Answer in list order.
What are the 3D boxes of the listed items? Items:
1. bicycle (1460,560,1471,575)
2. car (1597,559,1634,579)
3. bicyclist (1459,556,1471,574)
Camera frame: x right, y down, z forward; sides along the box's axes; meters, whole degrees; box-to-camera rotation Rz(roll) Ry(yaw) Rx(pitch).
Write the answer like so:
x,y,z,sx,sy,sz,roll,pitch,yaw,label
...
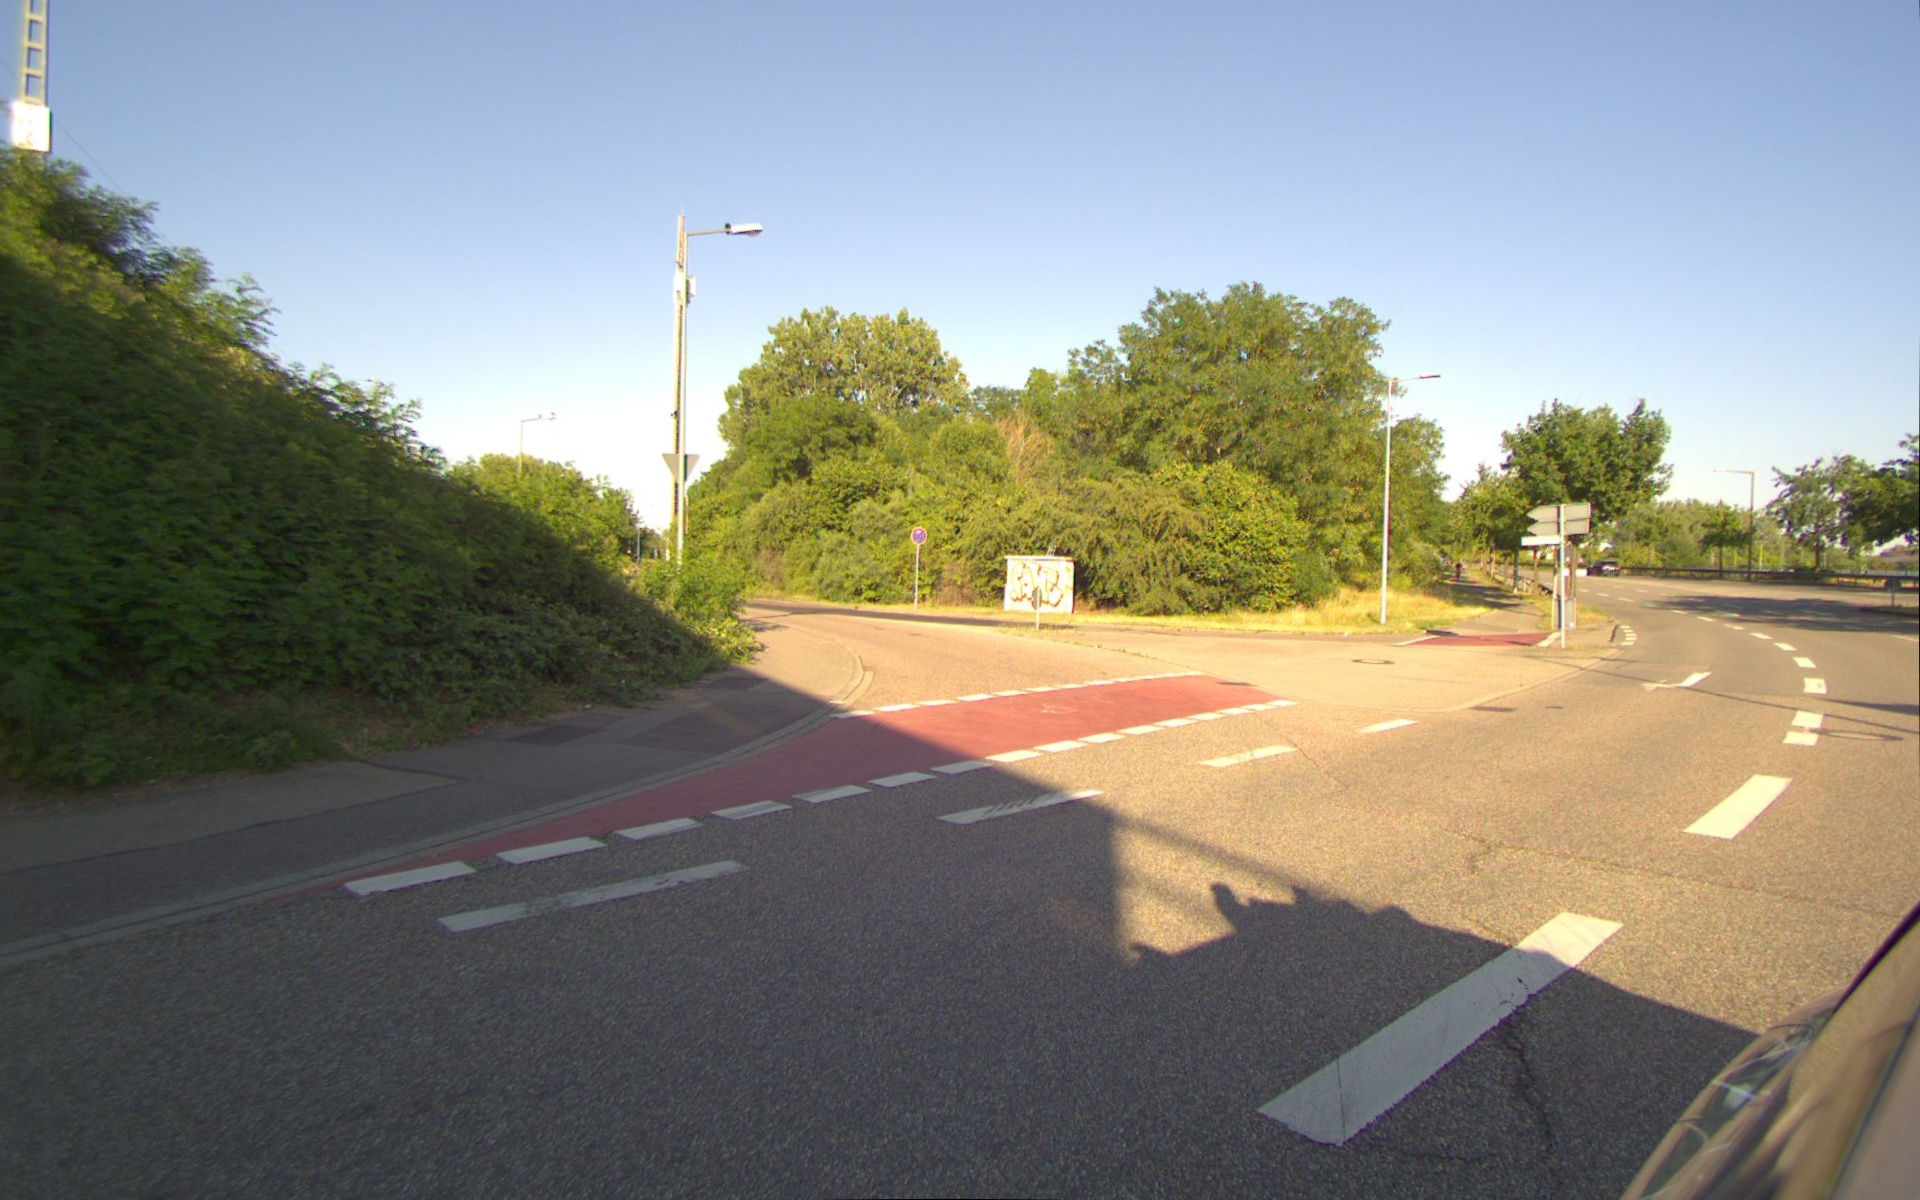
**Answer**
x,y,z,sx,sy,sz,roll,pitch,yaw,label
40.257,-2.579,80.536,0.775,1.070,2.473,0,0,27,bicycle
61.211,-2.885,94.568,1.974,1.794,3.976,0,0,19,car
40.227,-2.770,80.547,0.836,1.439,1.103,0,0,28,bicyclist
